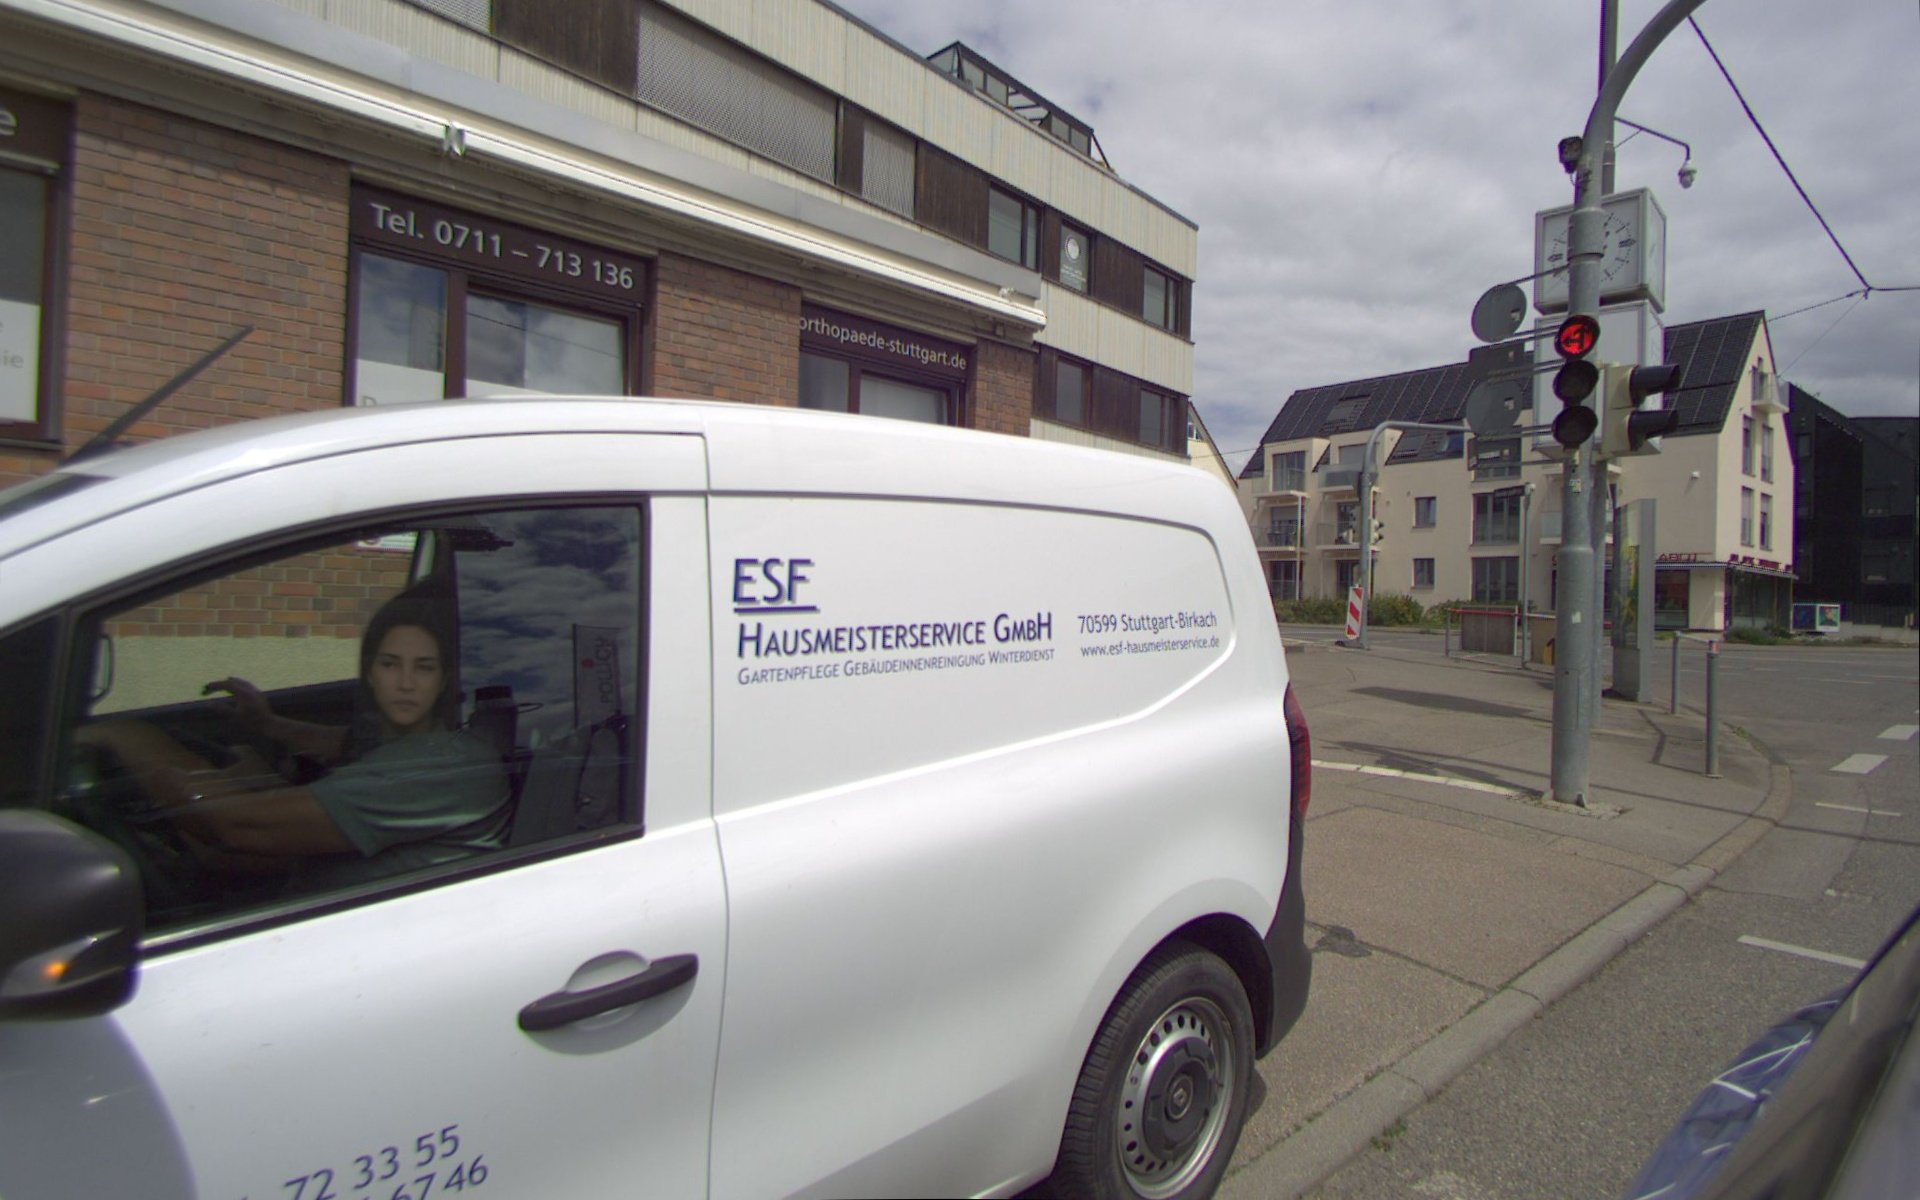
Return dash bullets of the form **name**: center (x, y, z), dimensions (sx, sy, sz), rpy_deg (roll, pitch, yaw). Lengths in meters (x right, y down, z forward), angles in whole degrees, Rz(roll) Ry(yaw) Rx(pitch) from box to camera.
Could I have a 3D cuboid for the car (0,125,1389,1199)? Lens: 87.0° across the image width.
- **car**: center (-1.163, 0.418, 1.991), dimensions (4.412, 1.816, 1.915), rpy_deg (0, 3, -41)
